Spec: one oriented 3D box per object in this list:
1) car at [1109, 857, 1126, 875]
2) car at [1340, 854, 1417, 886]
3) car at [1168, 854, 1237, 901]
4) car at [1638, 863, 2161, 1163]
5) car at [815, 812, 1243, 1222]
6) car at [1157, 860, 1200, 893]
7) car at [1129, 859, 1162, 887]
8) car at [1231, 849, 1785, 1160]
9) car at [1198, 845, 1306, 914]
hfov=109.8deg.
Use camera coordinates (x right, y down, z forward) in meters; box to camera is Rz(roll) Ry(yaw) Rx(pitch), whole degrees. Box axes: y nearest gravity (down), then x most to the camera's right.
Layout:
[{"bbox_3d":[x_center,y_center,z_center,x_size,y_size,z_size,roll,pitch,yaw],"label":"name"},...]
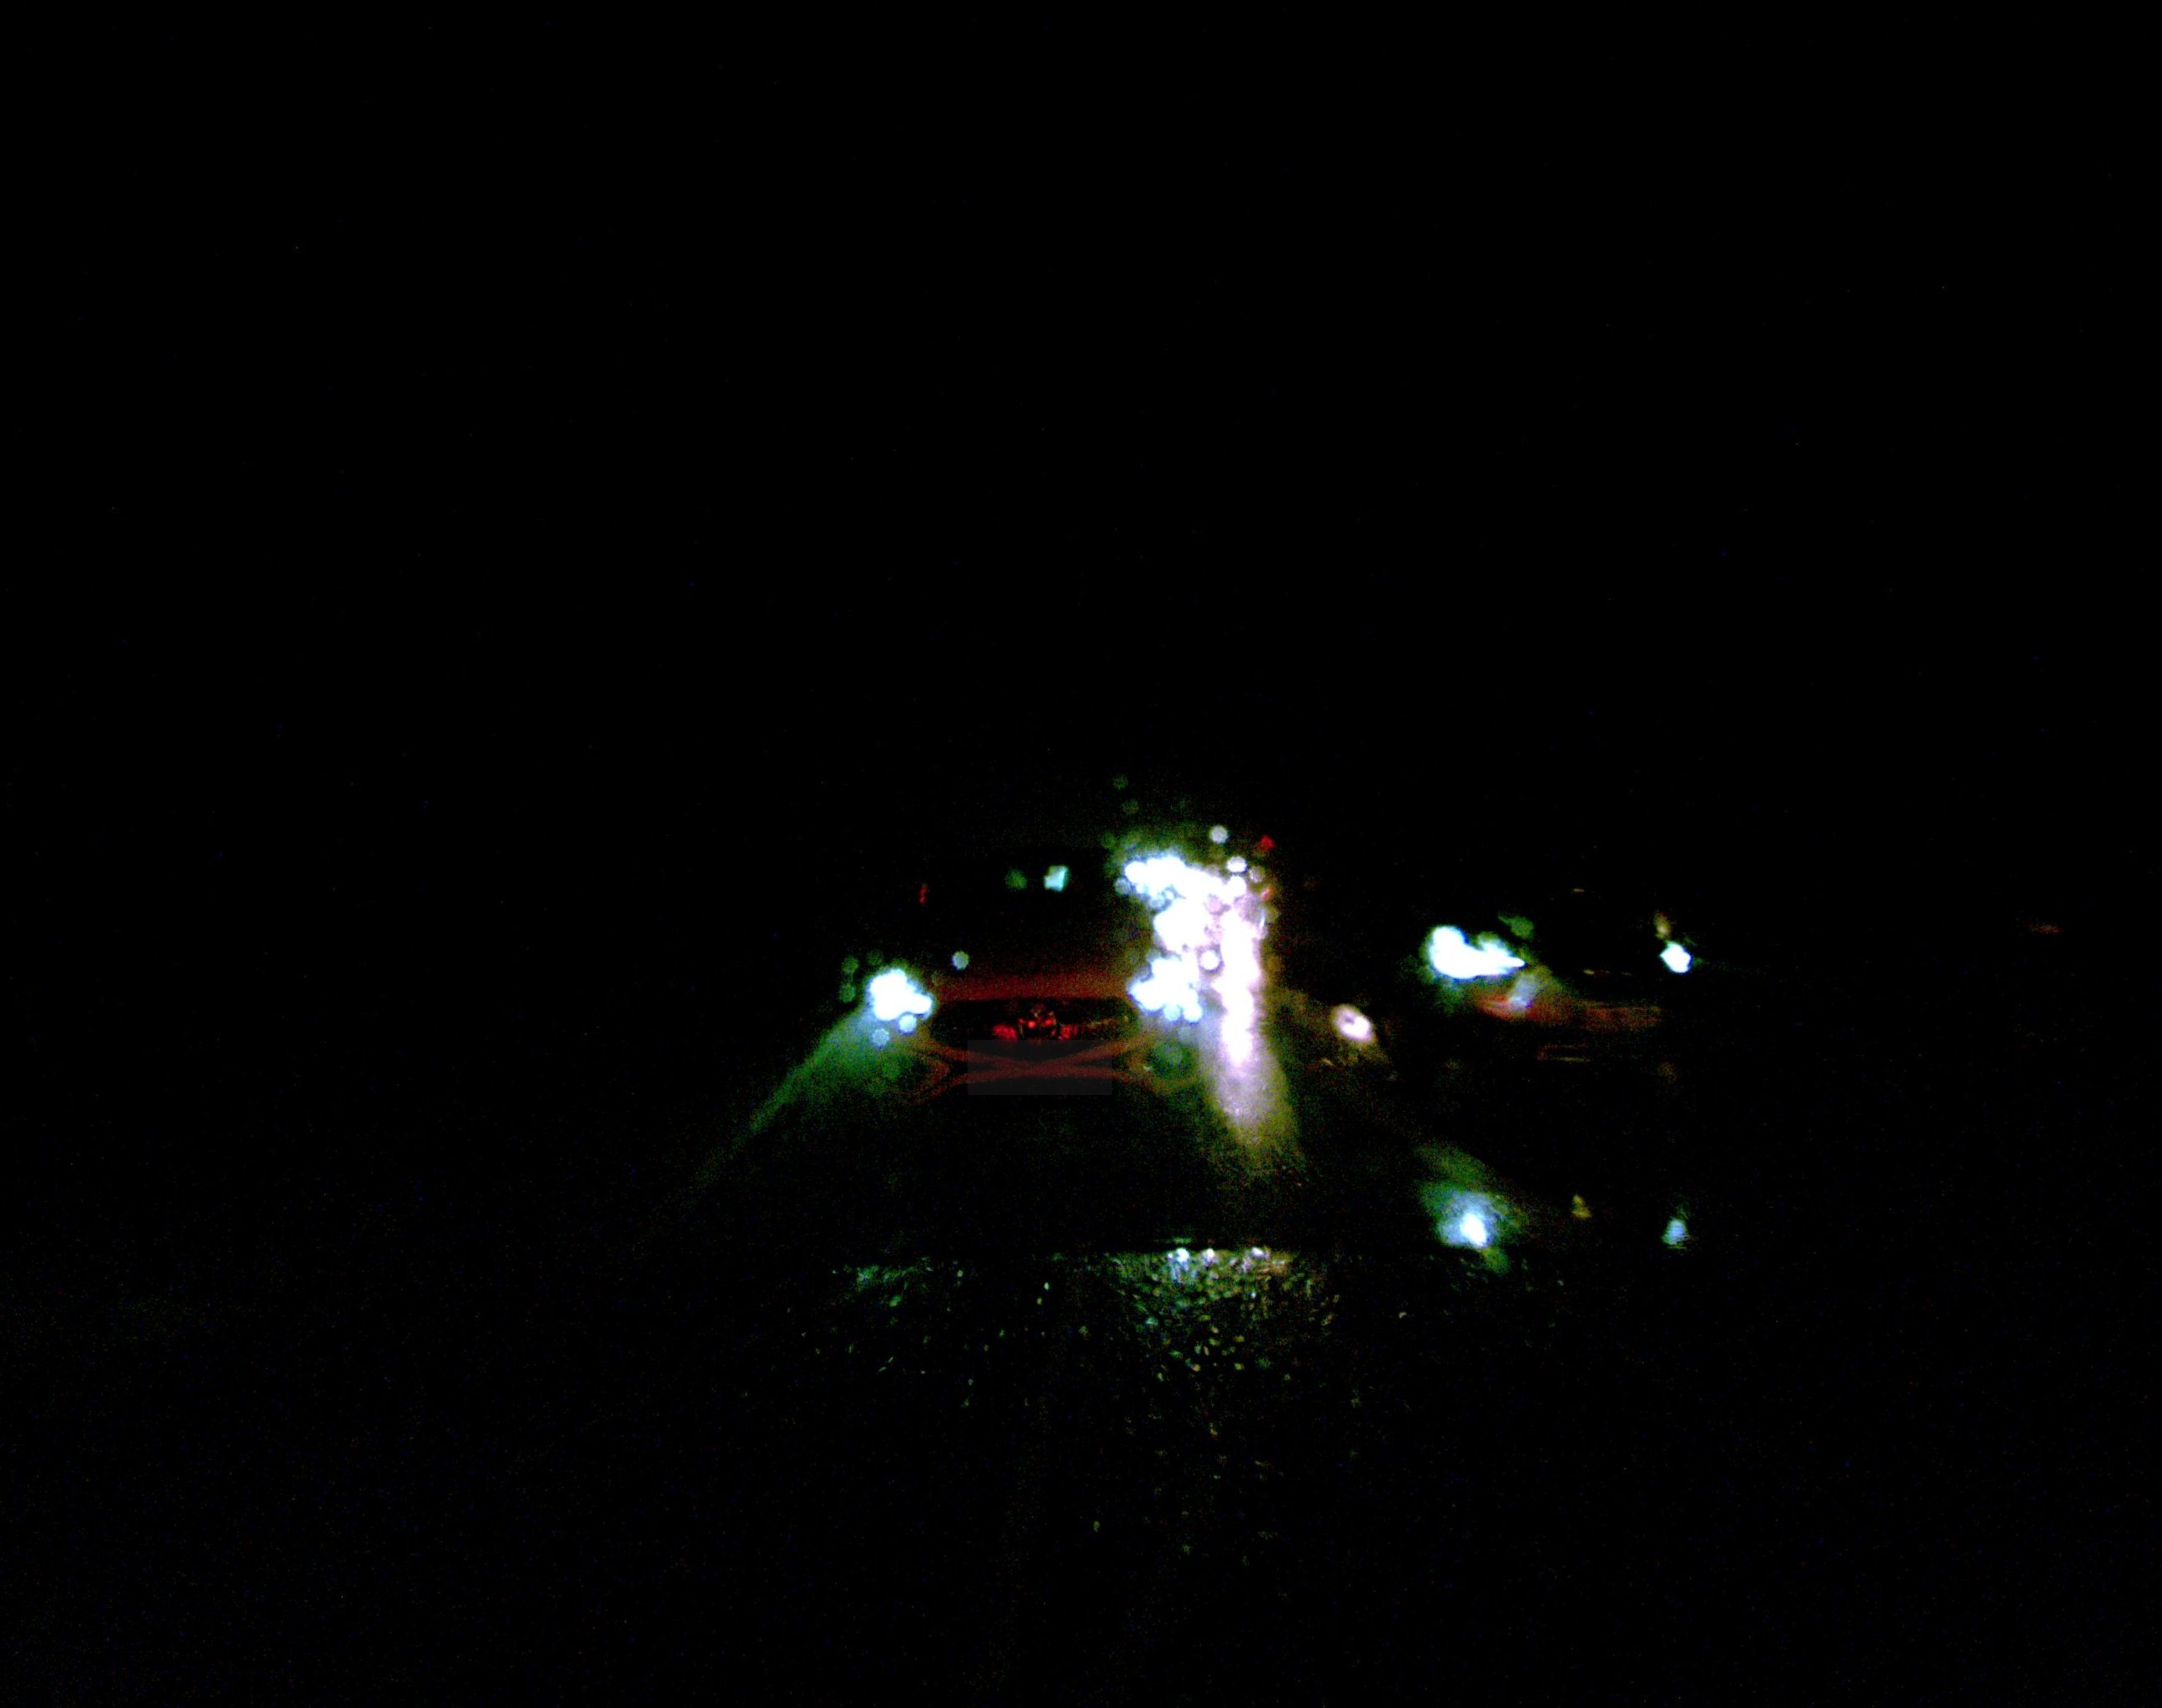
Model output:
[{"bbox_3d":[4.109,1.328,86.070,1.781,1.820,4.557,-2,1,1],"label":"car"},{"bbox_3d":[14.091,0.751,36.316,1.741,1.428,4.472,-1,0,-3],"label":"car"},{"bbox_3d":[4.574,0.823,29.191,1.788,1.586,4.236,-2,1,-2],"label":"car"},{"bbox_3d":[6.317,0.843,5.117,1.741,1.428,4.288,-2,1,-5],"label":"car"},{"bbox_3d":[-0.336,0.751,5.850,2.004,1.914,4.367,-2,1,-3],"label":"car"},{"bbox_3d":[4.917,1.089,38.767,1.680,1.437,4.174,-2,1,0],"label":"car"},{"bbox_3d":[4.533,1.327,54.111,1.747,1.791,4.079,-2,1,-4],"label":"car"},{"bbox_3d":[2.752,0.781,6.108,1.856,1.582,4.020,-2,1,-7],"label":"car"},{"bbox_3d":[4.958,0.662,22.748,1.999,1.783,4.720,-2,1,-2],"label":"car"}]
